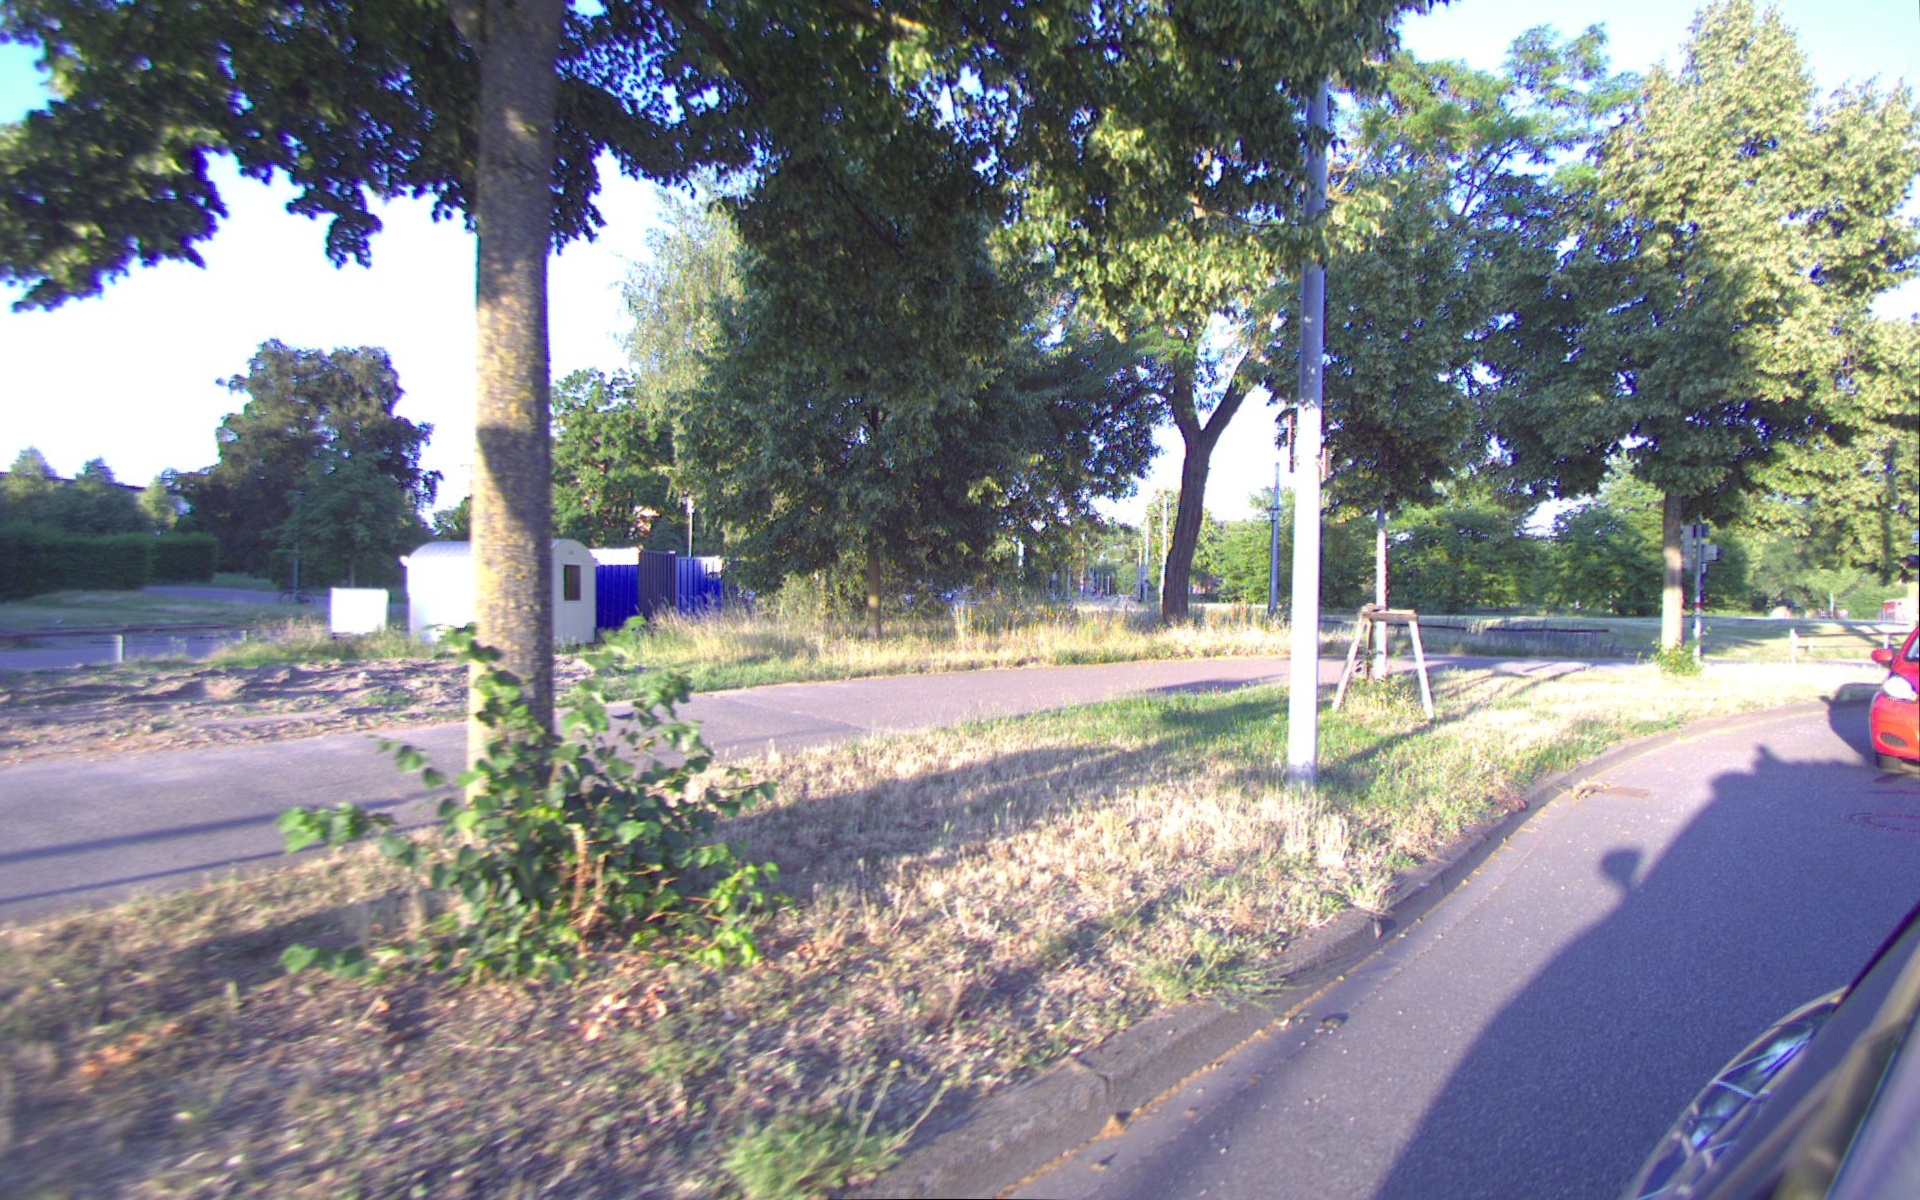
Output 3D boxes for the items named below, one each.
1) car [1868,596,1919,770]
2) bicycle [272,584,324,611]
[{"bbox_3d":[9.892,0.706,9.256,4.134,1.439,1.693,1,-1,-38],"label":"car"},{"bbox_3d":[-24.960,-0.099,38.154,1.819,0.890,0.404,3,1,10],"label":"bicycle"}]
